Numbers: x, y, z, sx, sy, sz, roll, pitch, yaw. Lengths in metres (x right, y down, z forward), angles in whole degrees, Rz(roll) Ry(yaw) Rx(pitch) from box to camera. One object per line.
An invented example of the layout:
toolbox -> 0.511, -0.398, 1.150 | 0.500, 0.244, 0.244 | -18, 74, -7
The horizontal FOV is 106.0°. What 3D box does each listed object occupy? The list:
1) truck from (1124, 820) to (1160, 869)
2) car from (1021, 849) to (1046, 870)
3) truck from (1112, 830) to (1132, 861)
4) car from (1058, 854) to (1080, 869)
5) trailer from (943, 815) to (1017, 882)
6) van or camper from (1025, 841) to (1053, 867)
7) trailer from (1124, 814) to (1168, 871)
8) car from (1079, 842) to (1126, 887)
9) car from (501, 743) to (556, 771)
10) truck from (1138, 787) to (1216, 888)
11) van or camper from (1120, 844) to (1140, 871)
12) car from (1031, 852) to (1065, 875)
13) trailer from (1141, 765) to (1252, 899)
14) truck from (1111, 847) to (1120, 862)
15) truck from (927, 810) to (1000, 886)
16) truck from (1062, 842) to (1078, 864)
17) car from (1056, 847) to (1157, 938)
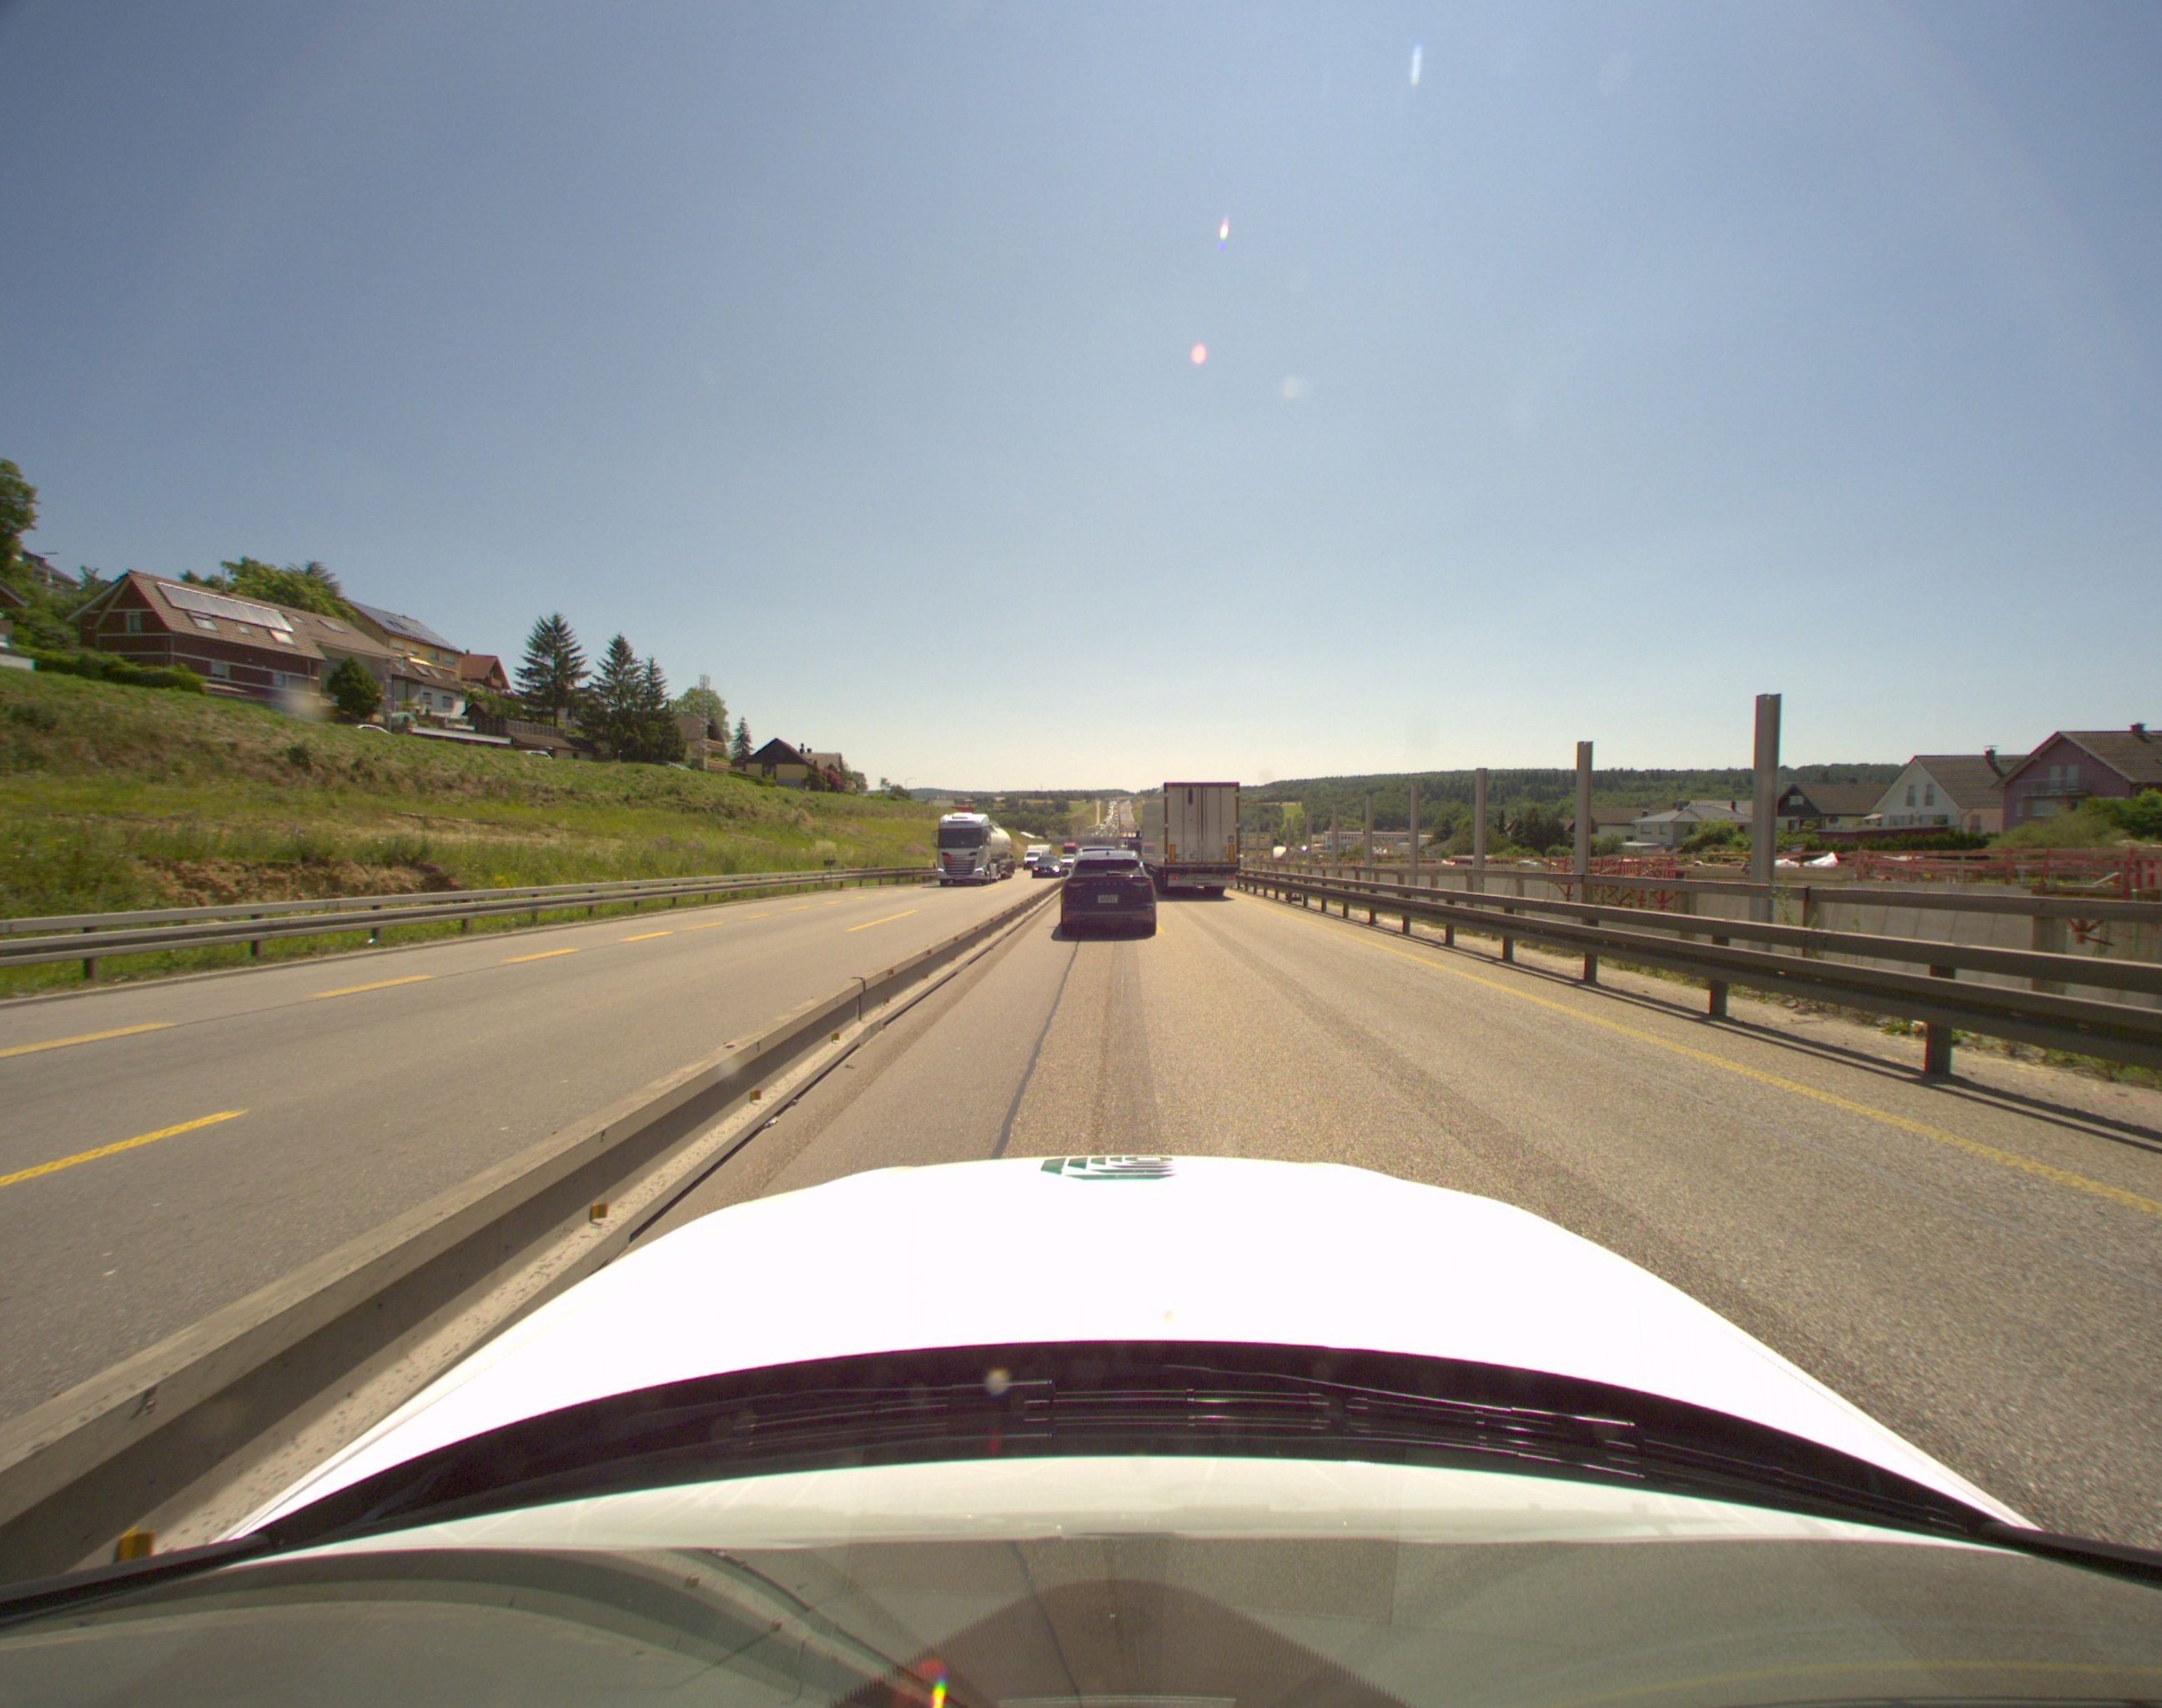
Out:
truck -> 5.894, -0.822, 80.055 | 3.168, 4.513, 8.168 | 0, -1, 2
car -> -4.680, 0.528, 80.941 | 1.986, 1.971, 5.345 | -1, 0, 2
truck -> 6.348, -1.264, 127.976 | 2.842, 4.465, 11.919 | 0, -1, 1
car -> -1.185, 0.724, 82.203 | 1.905, 1.480, 4.638 | -1, 0, 2
trailer -> -5.890, -0.297, 49.542 | 2.707, 3.594, 11.797 | 0, 0, 1
van or camper -> -4.442, 0.027, 87.533 | 2.348, 2.676, 7.861 | -1, 0, 2
trailer -> 5.633, -0.766, 73.009 | 3.168, 4.513, 14.971 | 0, -1, 2
car -> 0.986, 0.498, 37.199 | 1.986, 1.926, 4.509 | 0, -1, 1
car -> -50.521, -8.849, 74.530 | 1.983, 2.014, 4.008 | -1, -1, 7
truck -> 4.586, -0.766, 40.615 | 3.168, 4.513, 8.169 | 0, 0, 2
van or camper -> 6.203, 0.487, 101.724 | 2.378, 3.281, 6.475 | -1, -1, 4
car -> -2.132, 0.614, 53.910 | 1.887, 1.414, 4.682 | -1, 0, 2
trailer -> 4.393, -0.772, 34.136 | 3.168, 4.513, 13.114 | 0, 0, 2
truck -> 9.804, 0.180, 231.835 | 2.630, 4.194, 9.287 | 0, -1, 2
truck -> -6.072, -0.293, 43.050 | 2.769, 3.672, 6.279 | 0, 0, 1
truck -> -2.155, -0.056, 164.949 | 2.842, 4.140, 11.919 | 0, -1, 1
car -> 0.548, 0.712, 16.574 | 1.795, 1.607, 4.002 | 0, -1, 2
